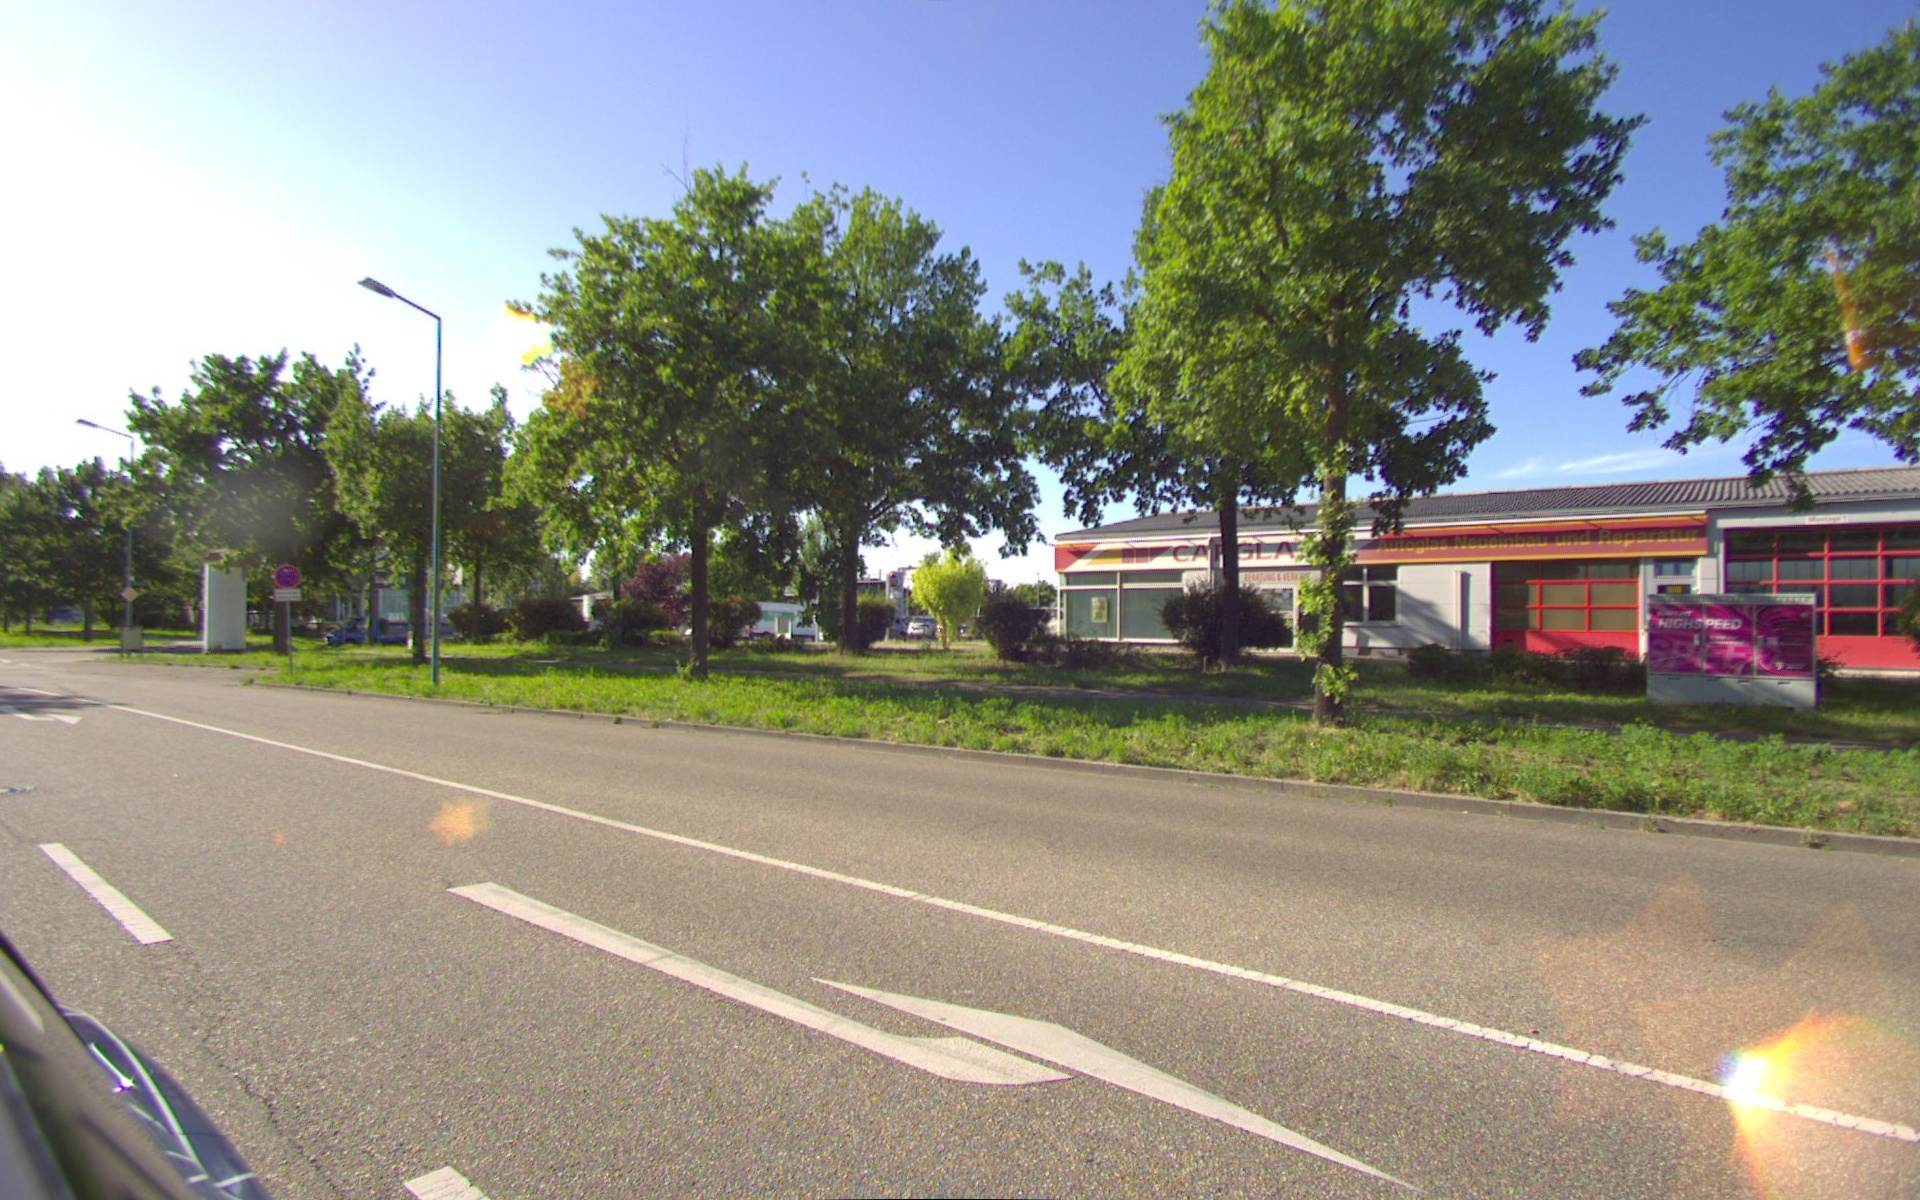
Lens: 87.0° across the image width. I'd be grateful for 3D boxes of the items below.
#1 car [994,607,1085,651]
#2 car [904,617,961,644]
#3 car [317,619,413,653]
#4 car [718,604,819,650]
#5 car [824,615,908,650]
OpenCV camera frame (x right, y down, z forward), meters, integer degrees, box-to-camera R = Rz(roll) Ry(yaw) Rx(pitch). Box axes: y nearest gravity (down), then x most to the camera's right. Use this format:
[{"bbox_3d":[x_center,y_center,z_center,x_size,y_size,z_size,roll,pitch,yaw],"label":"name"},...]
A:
[{"bbox_3d":[3.217,1.145,40.612,1.734,1.583,3.769,-3,-1,40],"label":"car"},{"bbox_3d":[-1.864,2.035,68.631,1.761,1.684,3.811,-1,0,40],"label":"car"},{"bbox_3d":[-35.964,2.148,61.247,1.999,1.847,4.578,-1,0,41],"label":"car"},{"bbox_3d":[-11.445,1.586,61.010,2.406,2.574,5.952,-1,0,36],"label":"car"},{"bbox_3d":[-5.139,1.755,55.798,1.989,1.795,4.583,-1,0,40],"label":"car"}]
